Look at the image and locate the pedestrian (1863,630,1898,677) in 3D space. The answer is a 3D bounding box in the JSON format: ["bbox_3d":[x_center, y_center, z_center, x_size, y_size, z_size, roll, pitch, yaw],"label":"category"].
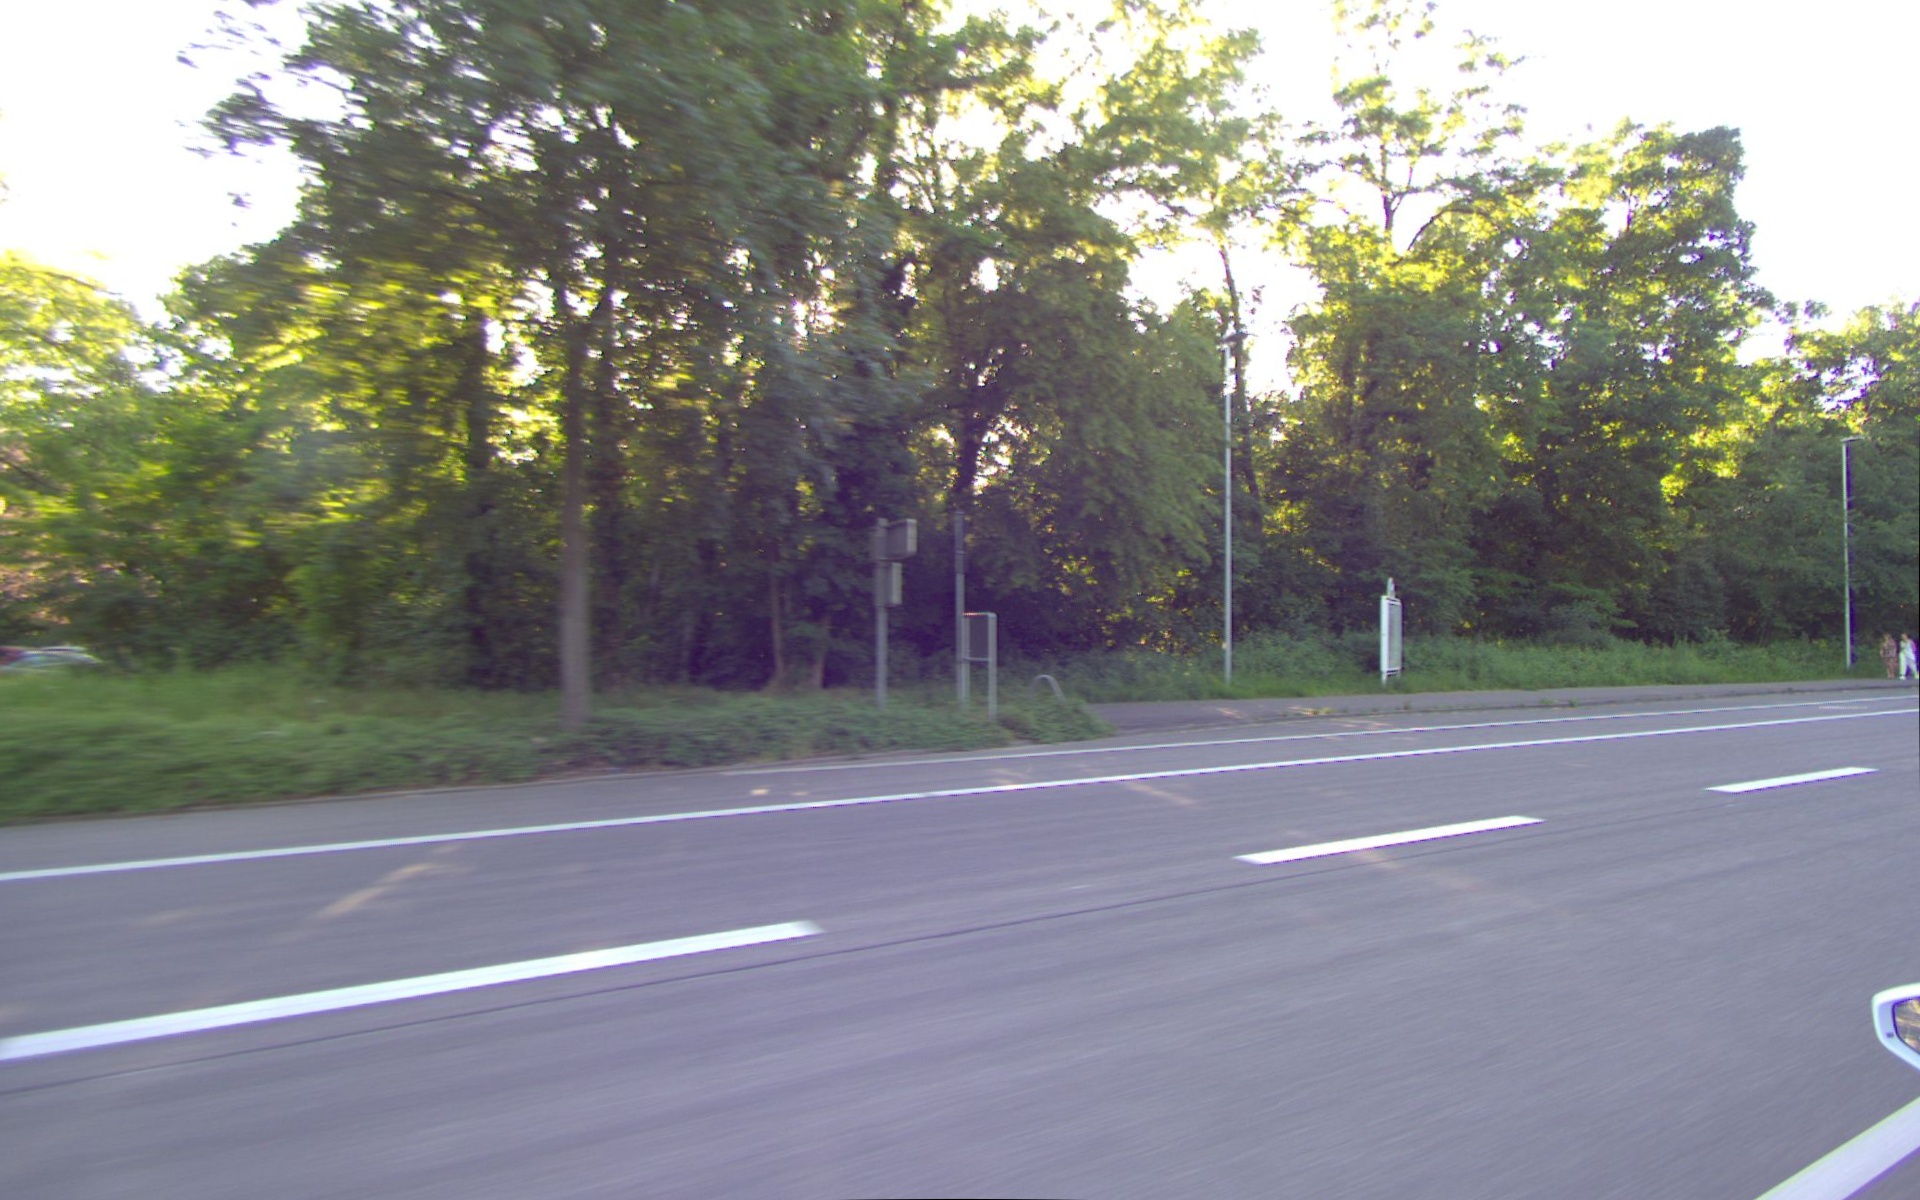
[{"bbox_3d":[33.168,1.909,36.196,0.779,1.675,0.673,1,-2,-25],"label":"pedestrian"}]

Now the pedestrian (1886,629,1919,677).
[{"bbox_3d":[33.435,1.876,35.572,0.779,1.675,0.673,1,-2,-25],"label":"pedestrian"}]

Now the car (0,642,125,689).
[{"bbox_3d":[-33.639,2.426,36.974,4.206,1.674,1.832,0,-5,2],"label":"car"}]

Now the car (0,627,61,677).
[{"bbox_3d":[-33.815,1.812,34.506,4.206,1.674,1.832,0,-5,2],"label":"car"}]
